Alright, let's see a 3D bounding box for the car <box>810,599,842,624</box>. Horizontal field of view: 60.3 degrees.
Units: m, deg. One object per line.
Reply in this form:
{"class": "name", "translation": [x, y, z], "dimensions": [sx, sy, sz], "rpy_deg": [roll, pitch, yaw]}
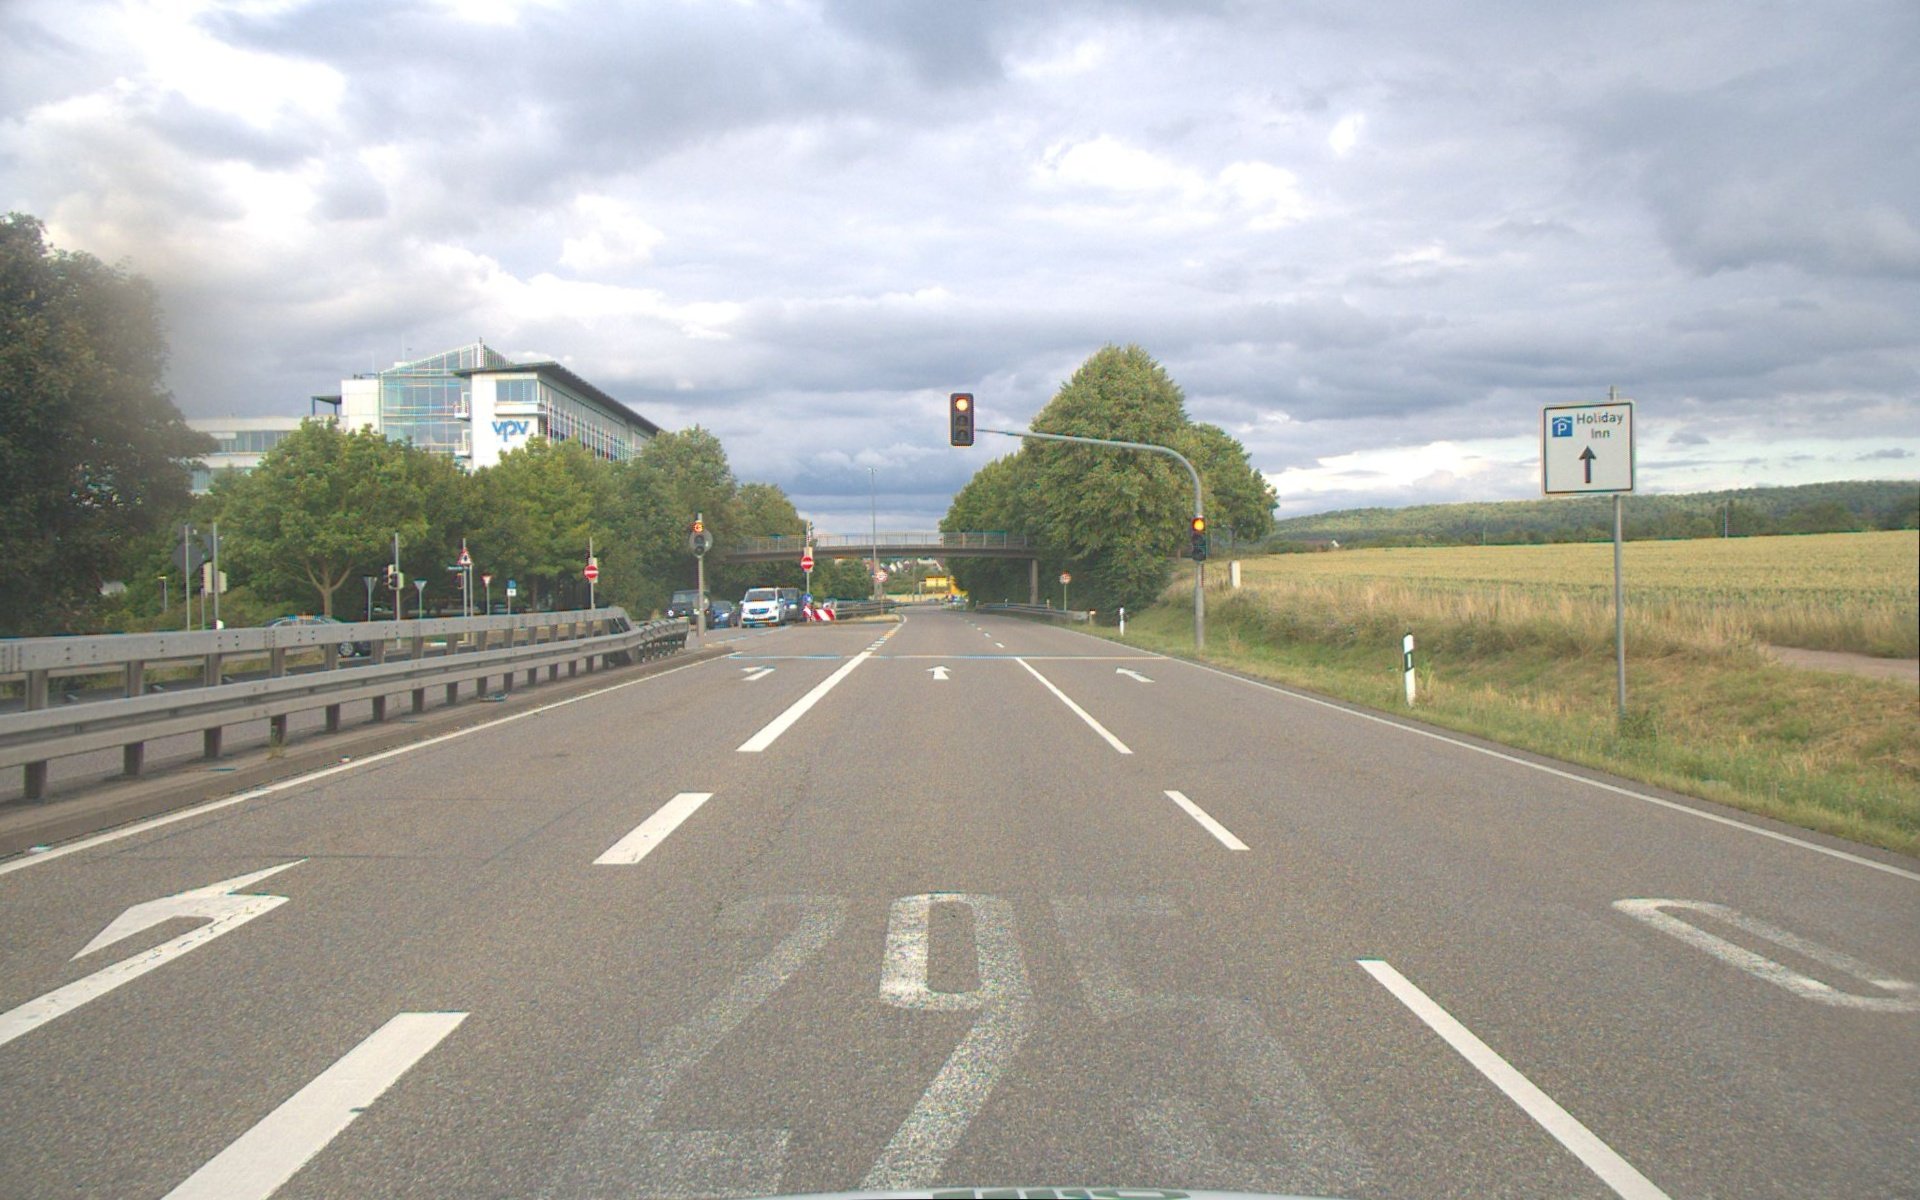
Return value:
{"class": "car", "translation": [-6.478, 0.544, 80.137], "dimensions": [1.330, 1.111, 2.922], "rpy_deg": [-1, 1, 0]}

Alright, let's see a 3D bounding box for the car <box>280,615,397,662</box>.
{"class": "car", "translation": [-21.894, 1.337, 58.362], "dimensions": [3.647, 1.566, 1.728], "rpy_deg": [0, 0, -14]}

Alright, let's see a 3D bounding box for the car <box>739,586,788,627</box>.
{"class": "car", "translation": [-9.705, 0.303, 82.156], "dimensions": [1.908, 1.906, 4.736], "rpy_deg": [-1, 1, -1]}

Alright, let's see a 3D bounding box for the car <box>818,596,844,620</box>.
{"class": "car", "translation": [-7.174, 0.442, 92.023], "dimensions": [1.286, 1.251, 2.921], "rpy_deg": [-1, 1, -2]}

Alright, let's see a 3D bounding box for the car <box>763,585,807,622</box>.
{"class": "car", "translation": [-9.556, 0.179, 90.746], "dimensions": [1.953, 1.906, 4.736], "rpy_deg": [-1, 1, -1]}

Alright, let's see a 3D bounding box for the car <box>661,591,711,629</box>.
{"class": "car", "translation": [-13.534, 0.479, 81.890], "dimensions": [1.831, 1.784, 4.048], "rpy_deg": [-1, 1, -1]}

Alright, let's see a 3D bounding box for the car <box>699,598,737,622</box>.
{"class": "car", "translation": [-13.010, 0.522, 89.175], "dimensions": [1.580, 1.199, 3.457], "rpy_deg": [-1, 1, -1]}
